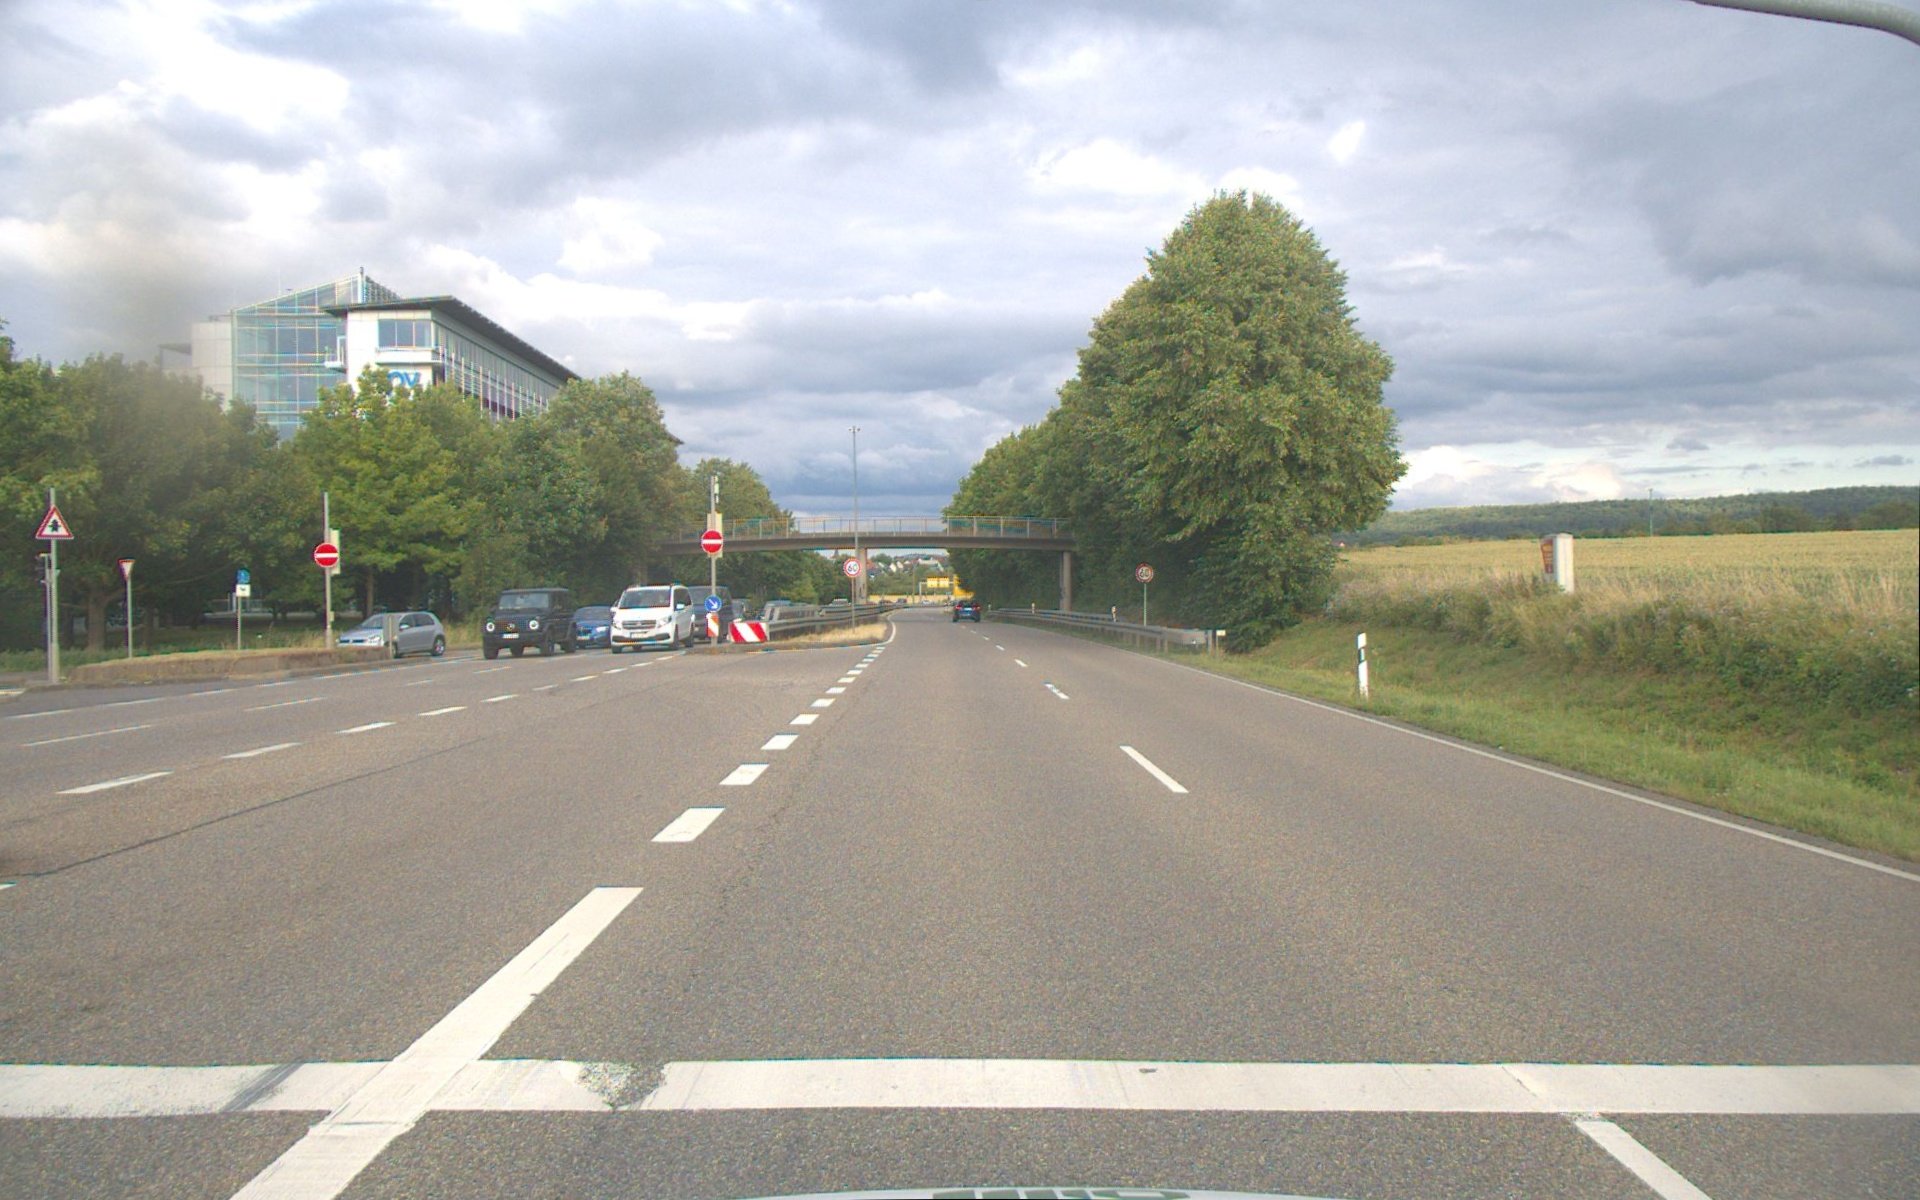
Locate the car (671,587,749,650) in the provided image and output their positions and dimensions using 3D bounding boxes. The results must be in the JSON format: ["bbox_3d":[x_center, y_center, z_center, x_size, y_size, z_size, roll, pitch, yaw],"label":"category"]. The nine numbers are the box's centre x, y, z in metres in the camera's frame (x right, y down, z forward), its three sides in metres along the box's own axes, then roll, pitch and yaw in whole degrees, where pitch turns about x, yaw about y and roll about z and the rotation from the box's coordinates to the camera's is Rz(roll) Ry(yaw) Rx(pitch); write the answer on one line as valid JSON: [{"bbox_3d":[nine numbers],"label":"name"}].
[{"bbox_3d":[-8.592,0.627,57.189,2.041,2.049,5.214,1,0,-2],"label":"car"}]

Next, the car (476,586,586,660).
[{"bbox_3d":[-12.689,0.672,49.277,2.041,2.049,5.214,1,0,-2],"label":"car"}]

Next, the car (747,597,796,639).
[{"bbox_3d":[-9.593,0.914,84.610,2.041,2.049,5.214,1,0,-2],"label":"car"}]

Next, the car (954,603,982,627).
[{"bbox_3d":[0.537,1.039,114.011,1.841,1.579,3.999,1,0,-1],"label":"car"}]

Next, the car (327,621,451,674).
[{"bbox_3d":[-17.905,1.476,52.010,1.549,1.365,3.751,-4,1,22],"label":"car"}]

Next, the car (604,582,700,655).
[{"bbox_3d":[-9.129,0.534,49.445,2.041,2.049,5.214,1,0,-2],"label":"car"}]

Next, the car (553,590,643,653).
[{"bbox_3d":[-12.357,0.717,56.782,2.041,2.049,5.214,1,0,-2],"label":"car"}]
